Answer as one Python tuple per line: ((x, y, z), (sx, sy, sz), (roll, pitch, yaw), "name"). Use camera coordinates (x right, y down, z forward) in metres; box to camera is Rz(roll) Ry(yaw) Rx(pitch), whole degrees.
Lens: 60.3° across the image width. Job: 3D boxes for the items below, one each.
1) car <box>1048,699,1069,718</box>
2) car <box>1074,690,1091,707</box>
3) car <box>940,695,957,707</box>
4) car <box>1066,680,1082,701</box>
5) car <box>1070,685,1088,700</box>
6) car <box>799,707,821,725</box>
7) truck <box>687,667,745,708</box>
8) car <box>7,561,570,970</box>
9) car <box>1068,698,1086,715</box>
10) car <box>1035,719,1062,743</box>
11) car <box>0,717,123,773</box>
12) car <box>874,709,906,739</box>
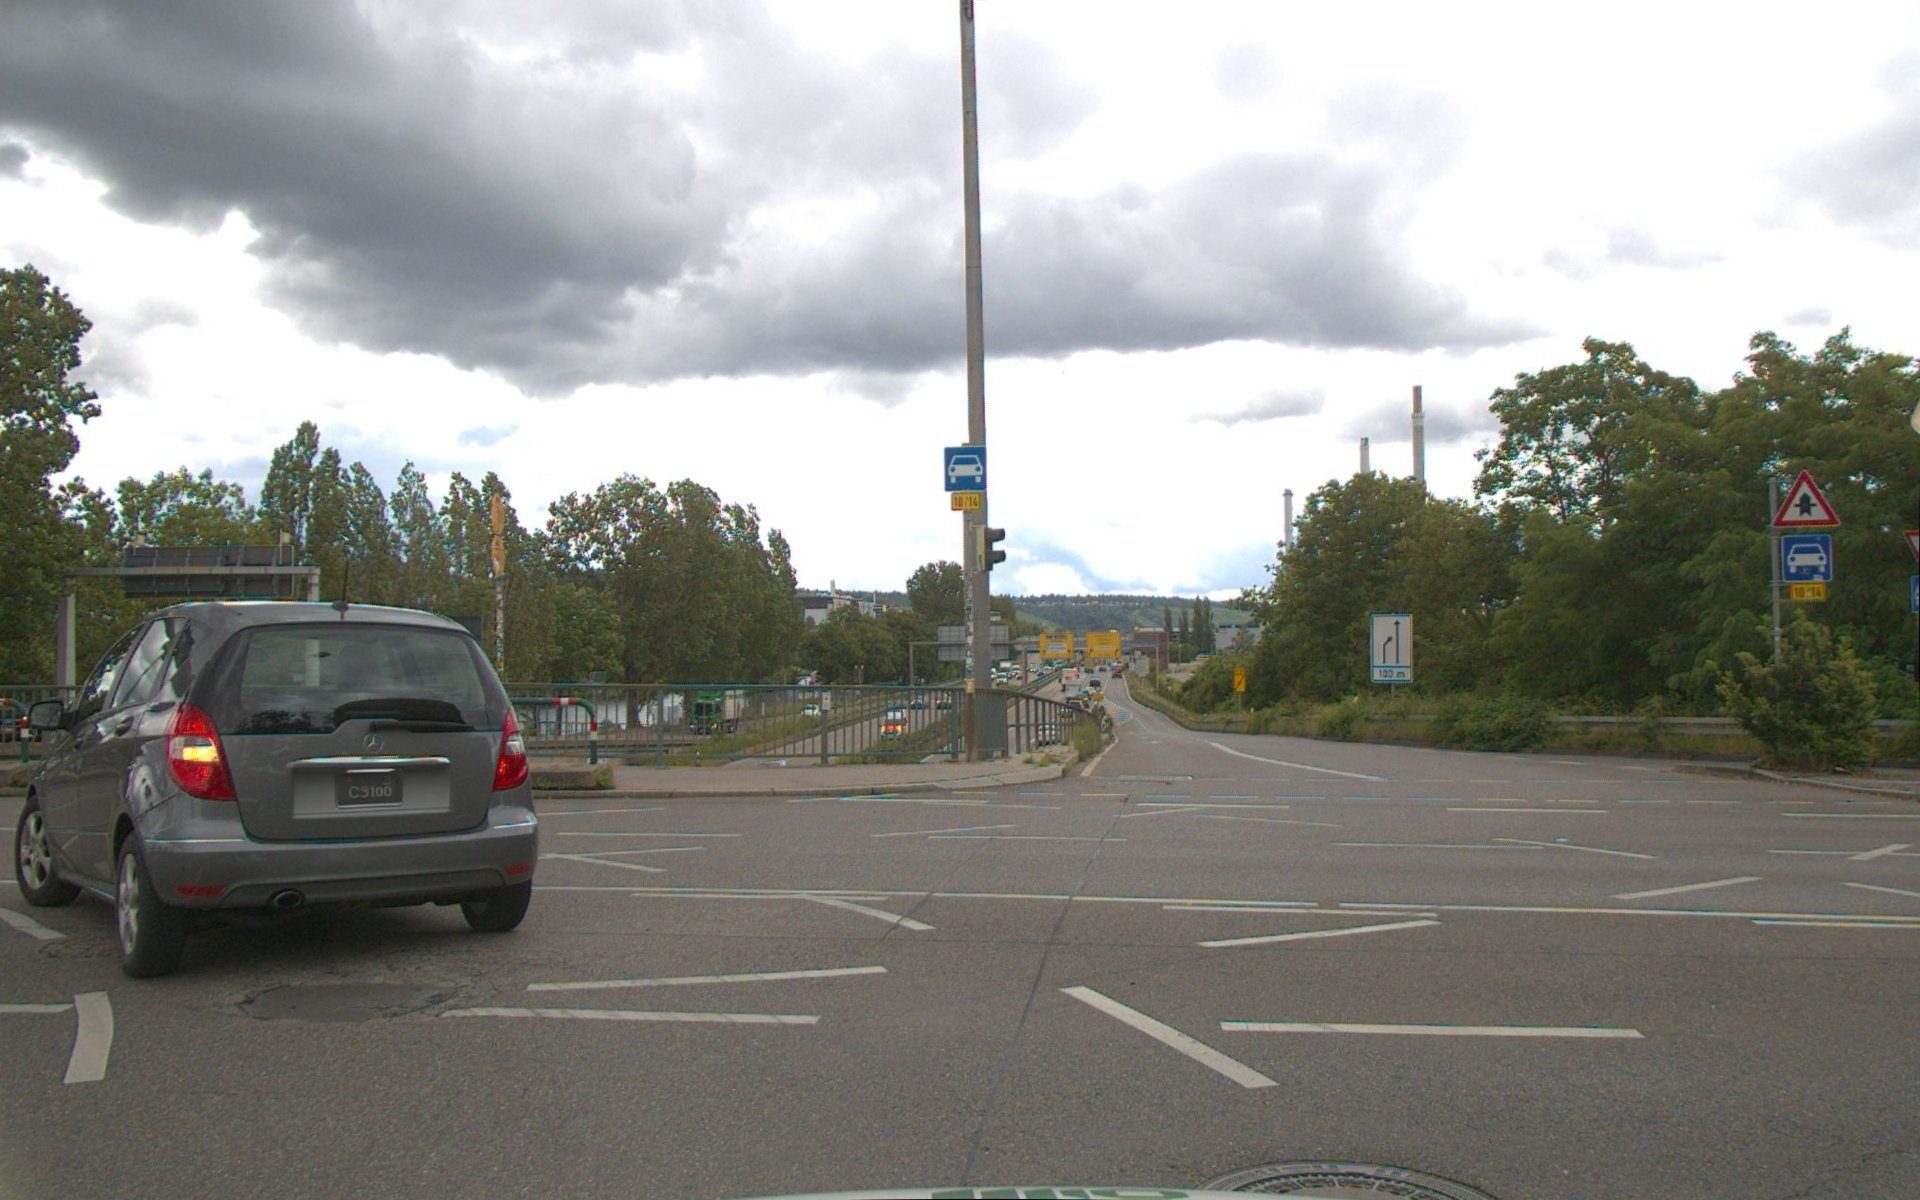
((9.463, 10.431, 159.130), (1.952, 1.767, 3.998), (-2, -4, 3), "car")
((15.025, 12.058, 202.813), (1.952, 2.049, 4.001), (-2, -4, 3), "car")
((-1.606, 14.689, 240.925), (1.951, 1.737, 4.081), (-2, -4, 6), "car")
((15.093, 12.057, 219.096), (1.952, 2.668, 5.400), (-2, -4, 3), "car")
((16.585, 12.939, 230.684), (2.478, 1.935, 4.883), (-2, -4, 3), "car")
((-16.874, 13.091, 186.368), (1.952, 1.698, 3.773), (0, 1, 3), "car")
((-22.144, 7.917, 150.535), (2.714, 3.571, 9.264), (-1, -2, 8), "truck")
((-3.598, 0.766, 8.468), (1.732, 1.578, 3.819), (2, -4, -37), "car")
((13.000, 11.850, 183.973), (1.952, 1.767, 3.998), (-2, -4, 3), "car")
((6.844, 10.095, 127.746), (1.952, 1.767, 3.998), (-2, -4, 4), "car")
((-28.722, 4.577, 52.478), (1.951, 1.646, 4.002), (-2, -4, 7), "car")
((-5.800, 10.296, 137.778), (1.951, 2.412, 4.592), (-2, -4, 6), "car")
